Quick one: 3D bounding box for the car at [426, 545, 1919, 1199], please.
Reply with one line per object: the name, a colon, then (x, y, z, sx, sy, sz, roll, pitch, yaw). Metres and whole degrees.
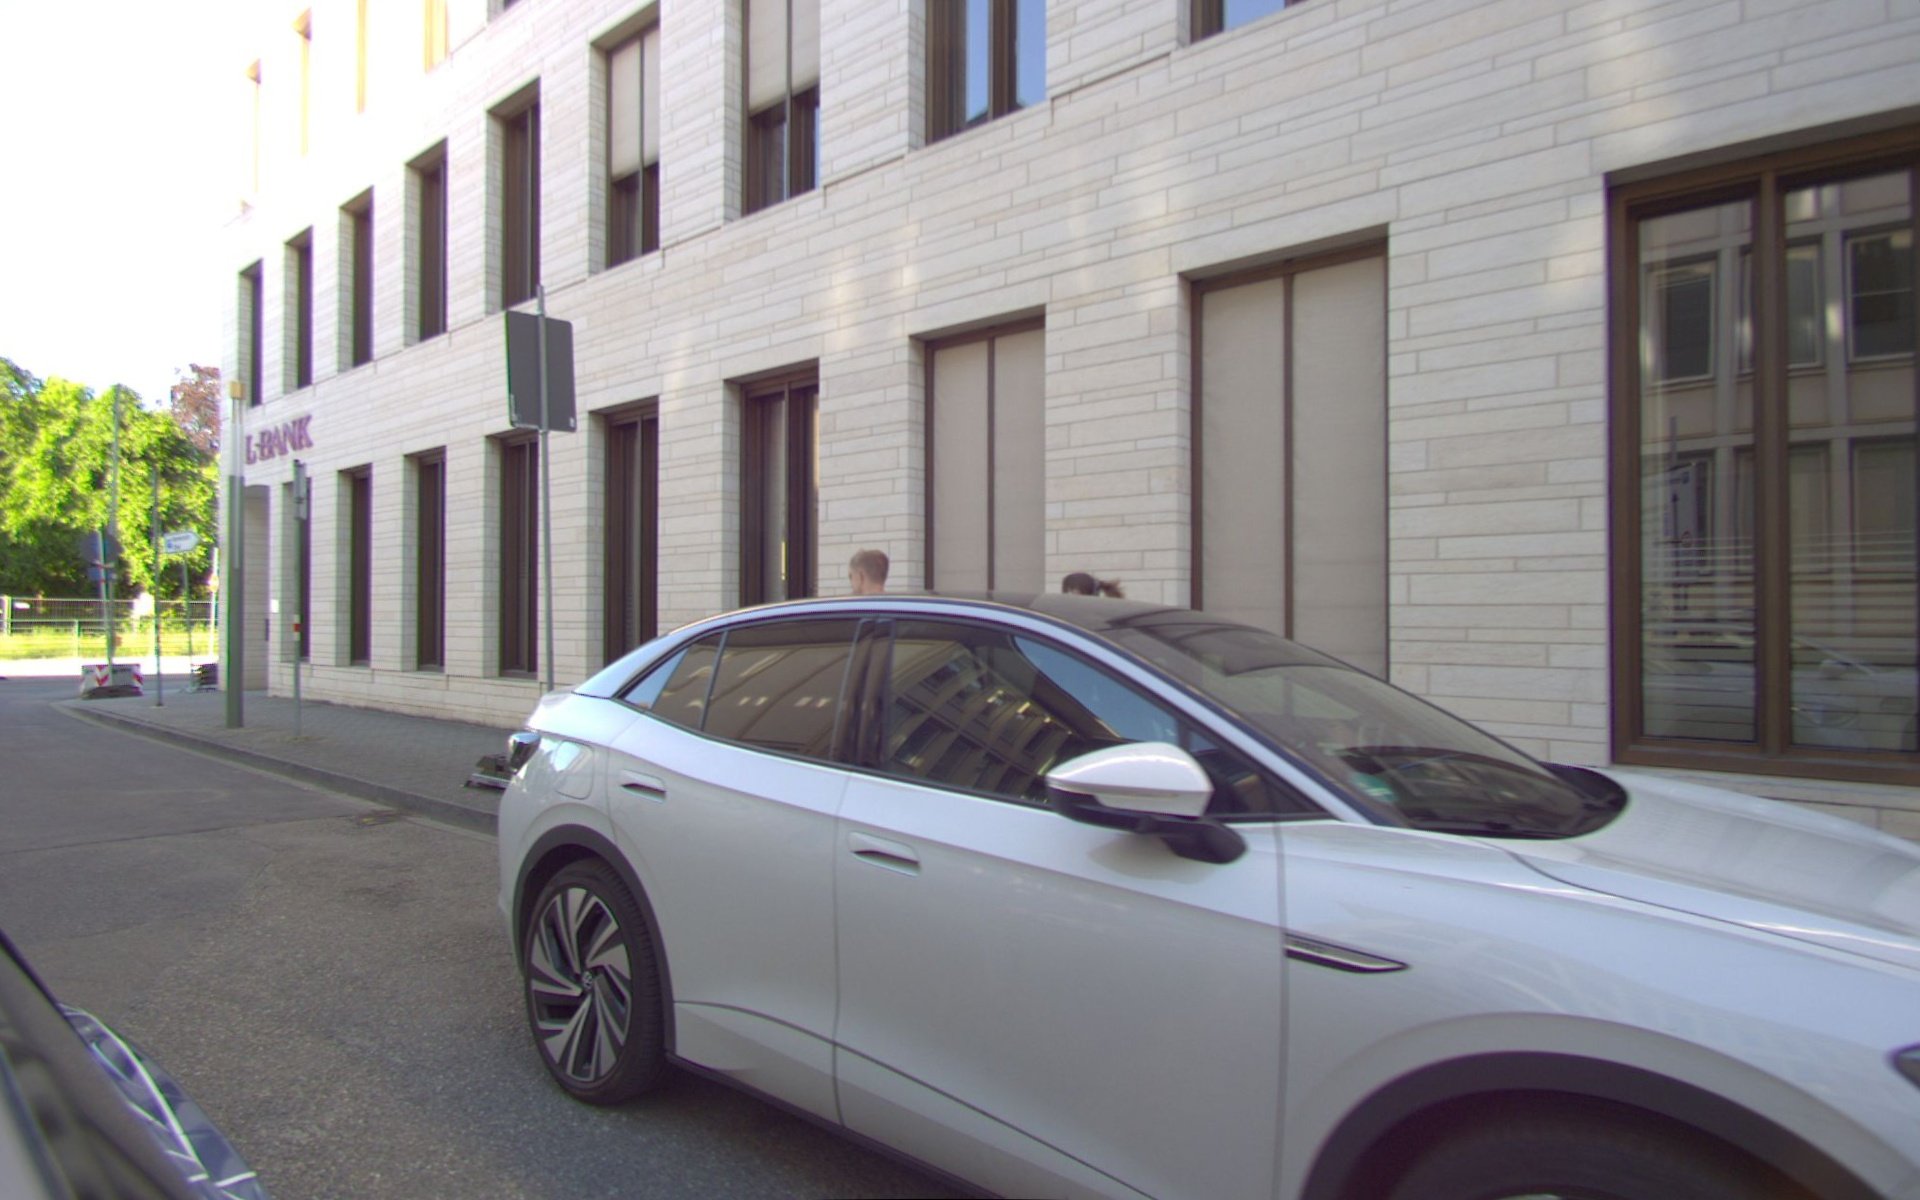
car: (0.374, 0.738, 2.928, 4.442, 1.553, 1.804, -2, 0, 39)

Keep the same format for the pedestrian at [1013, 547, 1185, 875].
pedestrian: (0.834, 0.610, 6.063, 0.816, 1.803, 0.637, 0, -1, 39)

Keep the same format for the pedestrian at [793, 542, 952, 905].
pedestrian: (-0.466, 0.614, 5.453, 0.575, 1.803, 0.635, 0, -1, 39)
